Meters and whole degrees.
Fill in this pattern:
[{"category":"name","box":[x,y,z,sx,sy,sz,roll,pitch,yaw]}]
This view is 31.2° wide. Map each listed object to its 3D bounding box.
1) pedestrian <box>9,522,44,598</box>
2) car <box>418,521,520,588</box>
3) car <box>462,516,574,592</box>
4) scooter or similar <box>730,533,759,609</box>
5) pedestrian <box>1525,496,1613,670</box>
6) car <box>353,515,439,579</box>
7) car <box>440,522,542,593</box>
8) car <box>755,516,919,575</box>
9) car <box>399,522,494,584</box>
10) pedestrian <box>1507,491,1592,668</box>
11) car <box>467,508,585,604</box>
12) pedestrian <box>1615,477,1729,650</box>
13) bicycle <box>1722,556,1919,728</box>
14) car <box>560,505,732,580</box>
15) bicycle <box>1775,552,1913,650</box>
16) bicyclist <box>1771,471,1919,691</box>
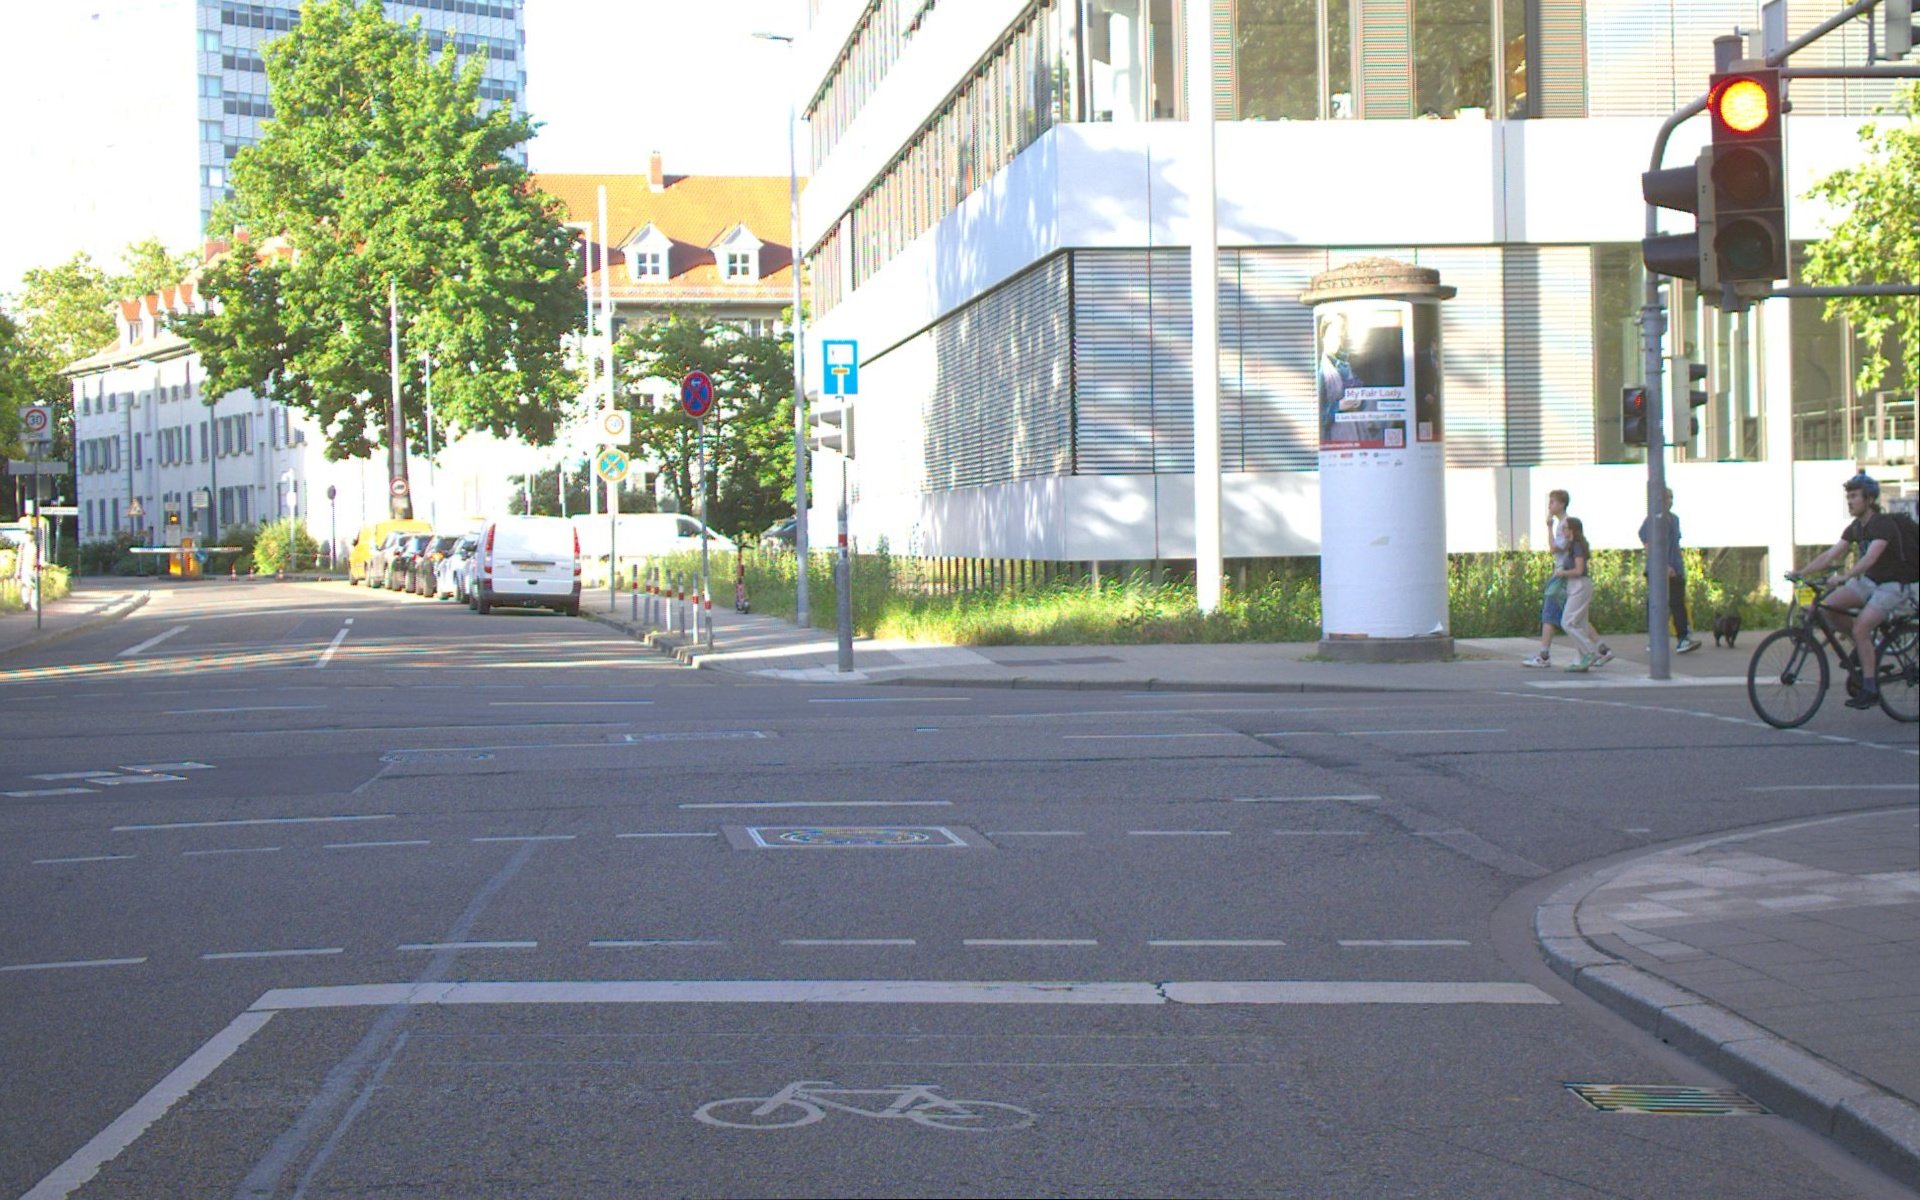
[{"category":"pedestrian","box":[-19.566,-0.835,72.059,0.699,1.581,0.637,1,0,-16]},{"category":"car","box":[-11.625,-1.072,81.244,1.993,1.493,4.288,1,1,-13]},{"category":"car","box":[-9.170,-0.945,71.025,1.993,1.493,4.653,1,1,-11]},{"category":"scooter or similar","box":[-3.658,-0.501,58.280,0.437,1.252,1.420,-1,1,-4]},{"category":"pedestrian","box":[6.097,-0.171,34.466,0.765,1.713,0.648,1,0,2]},{"category":"car","box":[-15.737,-1.465,95.824,1.993,1.719,4.653,1,1,-14]},{"category":"car","box":[-10.503,-0.946,76.797,1.993,1.493,4.653,1,1,-11]},{"category":"car","box":[-3.753,-1.654,104.763,4.635,1.719,2.001,1,1,-16]},{"category":"car","box":[-12.878,-1.177,85.968,1.993,1.493,4.653,1,1,-13]},{"category":"pedestrian","box":[6.039,-0.211,35.230,0.765,1.789,0.648,1,0,3]},{"category":"car","box":[-8.219,-0.825,64.812,1.993,1.719,4.653,1,1,-10]},{"category":"pedestrian","box":[7.610,-0.391,36.732,0.916,1.809,0.760,1,1,39]},{"category":"bicycle","box":[6.393,0.281,24.338,1.963,1.148,0.592,-2,1,-23]},{"category":"car","box":[-9.400,-1.722,102.920,4.791,2.151,2.001,1,0,-17]},{"category":"bicycle","box":[9.284,0.009,36.137,0.378,1.005,1.432,-2,2,-42]},{"category":"bicyclist","box":[6.378,-0.145,24.337,1.075,1.522,0.592,-1,1,-23]}]
